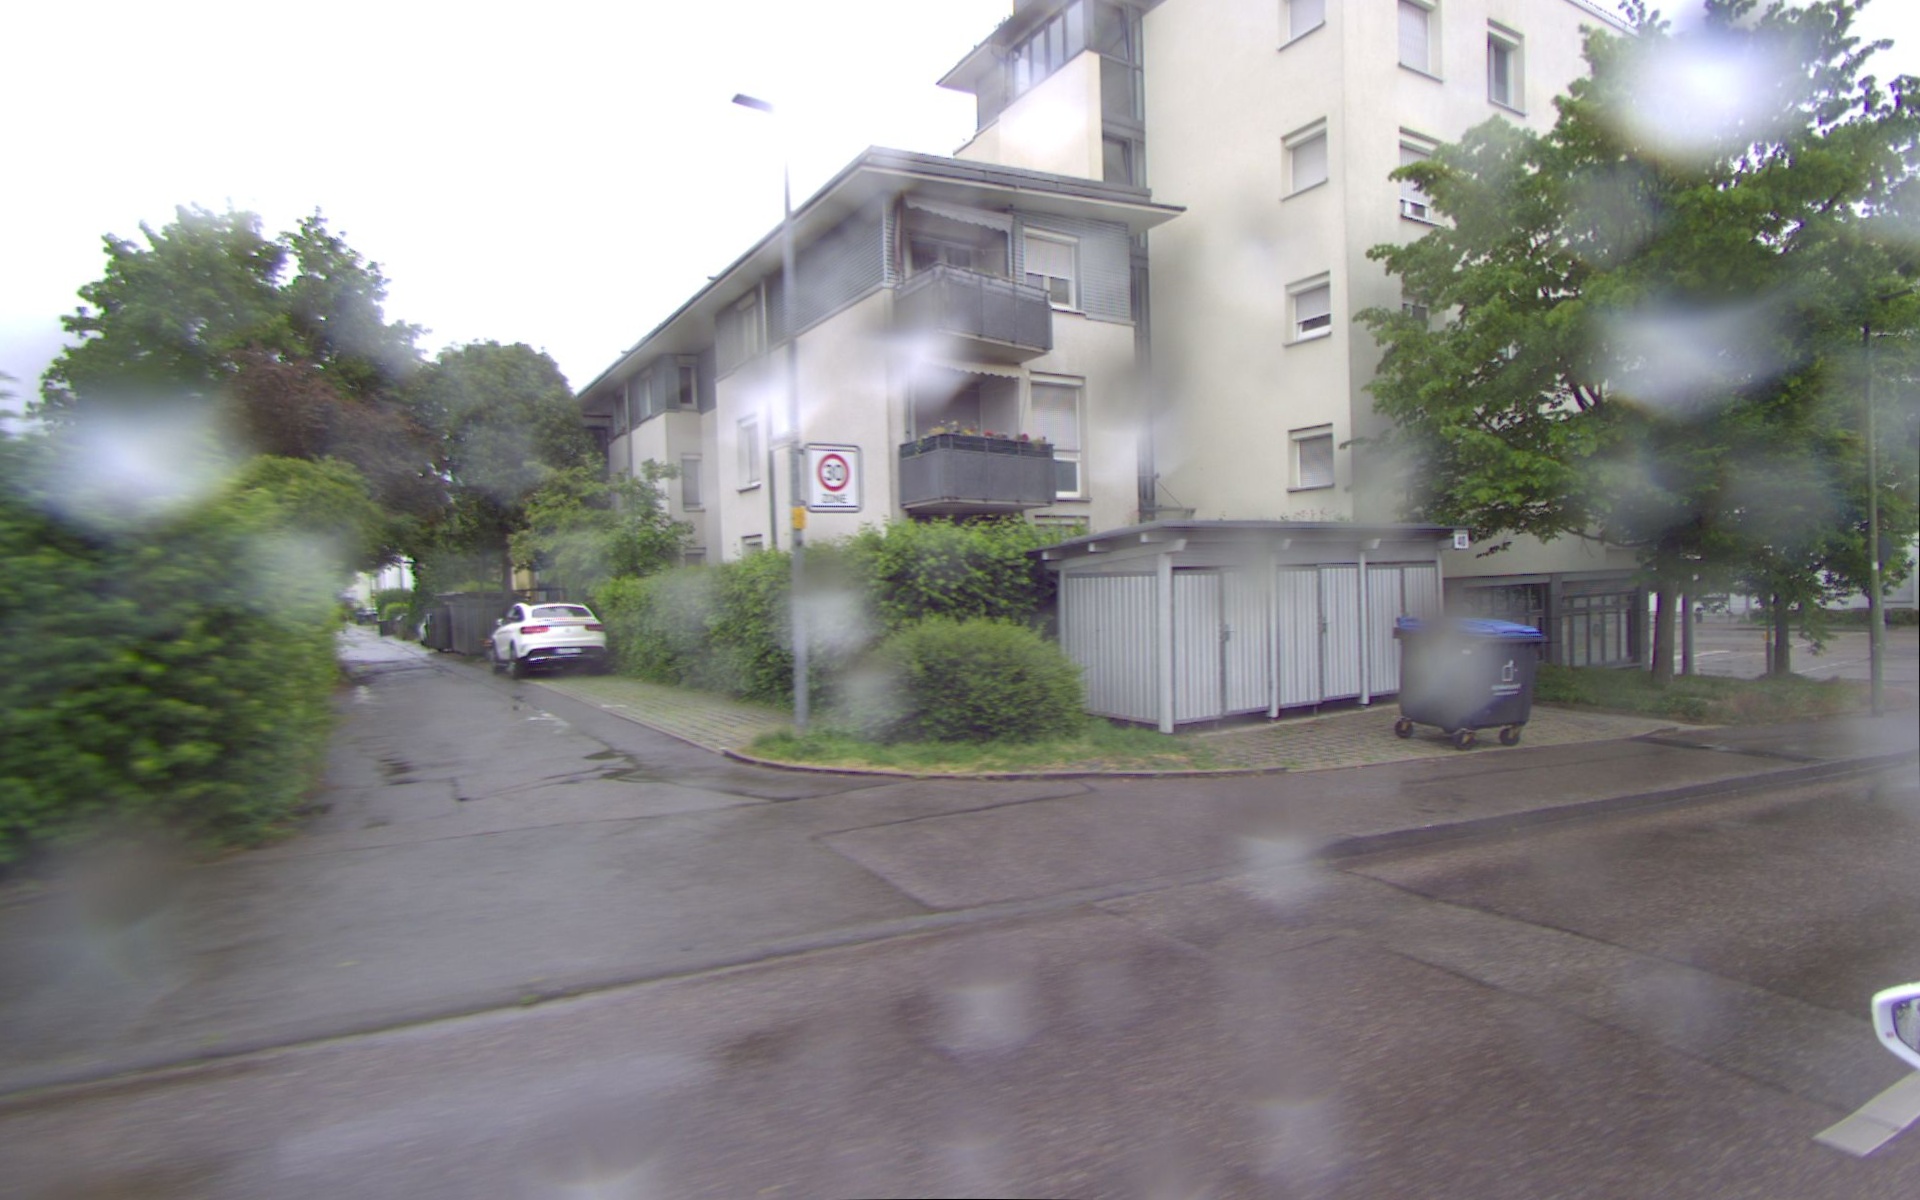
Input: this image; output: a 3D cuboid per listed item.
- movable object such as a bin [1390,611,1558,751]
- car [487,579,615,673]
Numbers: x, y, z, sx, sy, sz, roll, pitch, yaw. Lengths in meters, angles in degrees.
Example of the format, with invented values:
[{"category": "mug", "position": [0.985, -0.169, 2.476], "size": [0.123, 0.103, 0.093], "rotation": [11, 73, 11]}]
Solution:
[{"category": "movable object such as a bin", "position": [5.539, 0.821, 10.846], "size": [1.304, 1.365, 1.065], "rotation": [1, 2, -32]}, {"category": "car", "position": [-9.632, 0.617, 23.479], "size": [2.178, 1.991, 3.967], "rotation": [0, -2, -31]}]
